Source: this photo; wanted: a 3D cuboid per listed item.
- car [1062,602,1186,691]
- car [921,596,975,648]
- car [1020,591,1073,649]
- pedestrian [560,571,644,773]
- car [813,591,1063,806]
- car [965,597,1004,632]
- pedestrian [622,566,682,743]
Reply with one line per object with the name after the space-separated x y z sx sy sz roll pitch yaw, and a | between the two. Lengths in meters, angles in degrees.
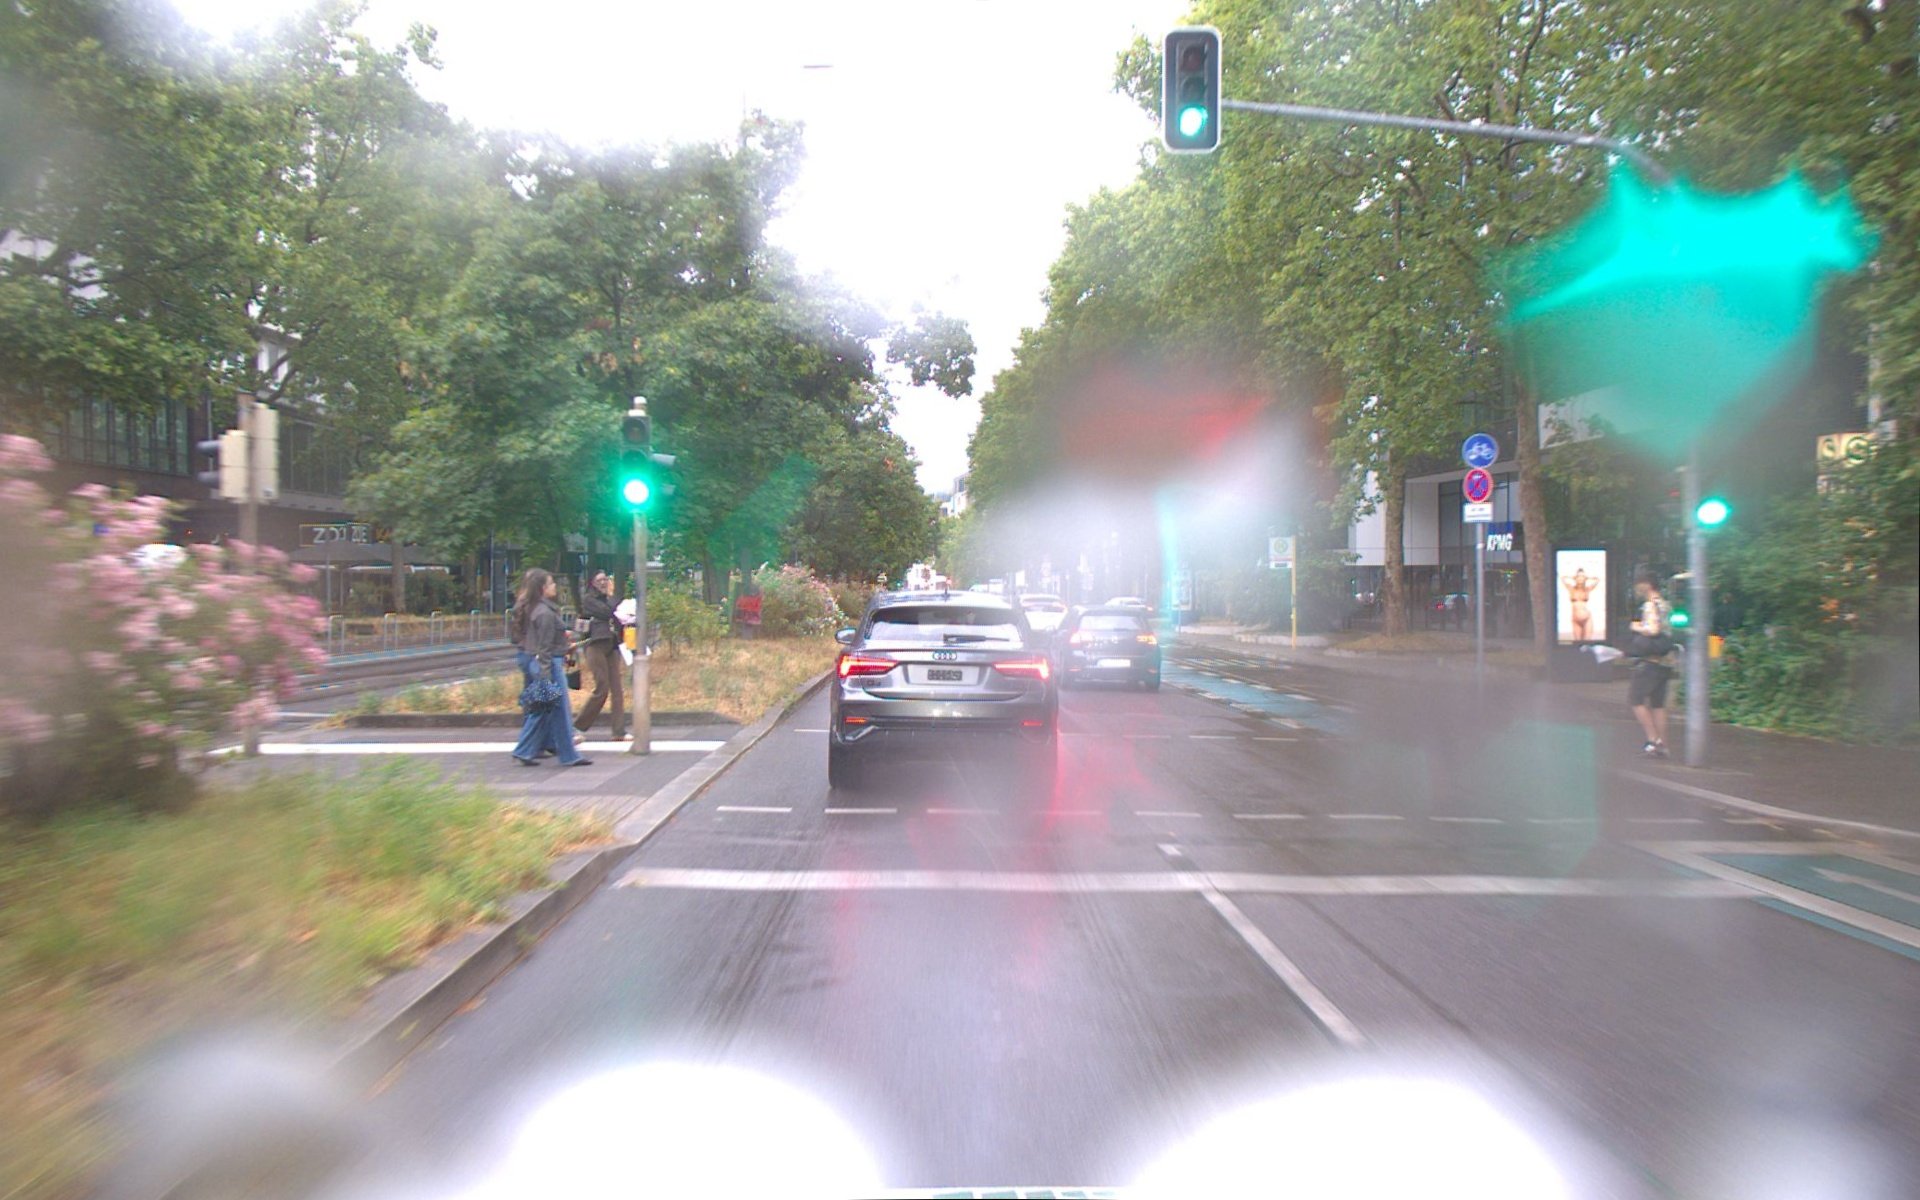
2.875 0.780 29.798 1.729 1.437 3.999 0 0 -2 | car
-0.417 0.686 53.929 1.687 1.605 3.961 0 0 -1 | car
2.622 0.588 50.623 1.404 1.714 2.978 0 0 -1 | car
-3.057 0.595 14.108 0.603 1.671 0.601 0 0 -24 | pedestrian
-0.155 0.709 14.371 1.825 1.559 4.526 0 0 0 | car
1.291 0.733 88.119 1.953 1.780 3.999 0 0 -1 | car
-3.053 0.529 16.371 0.563 1.728 0.403 0 0 -13 | pedestrian
